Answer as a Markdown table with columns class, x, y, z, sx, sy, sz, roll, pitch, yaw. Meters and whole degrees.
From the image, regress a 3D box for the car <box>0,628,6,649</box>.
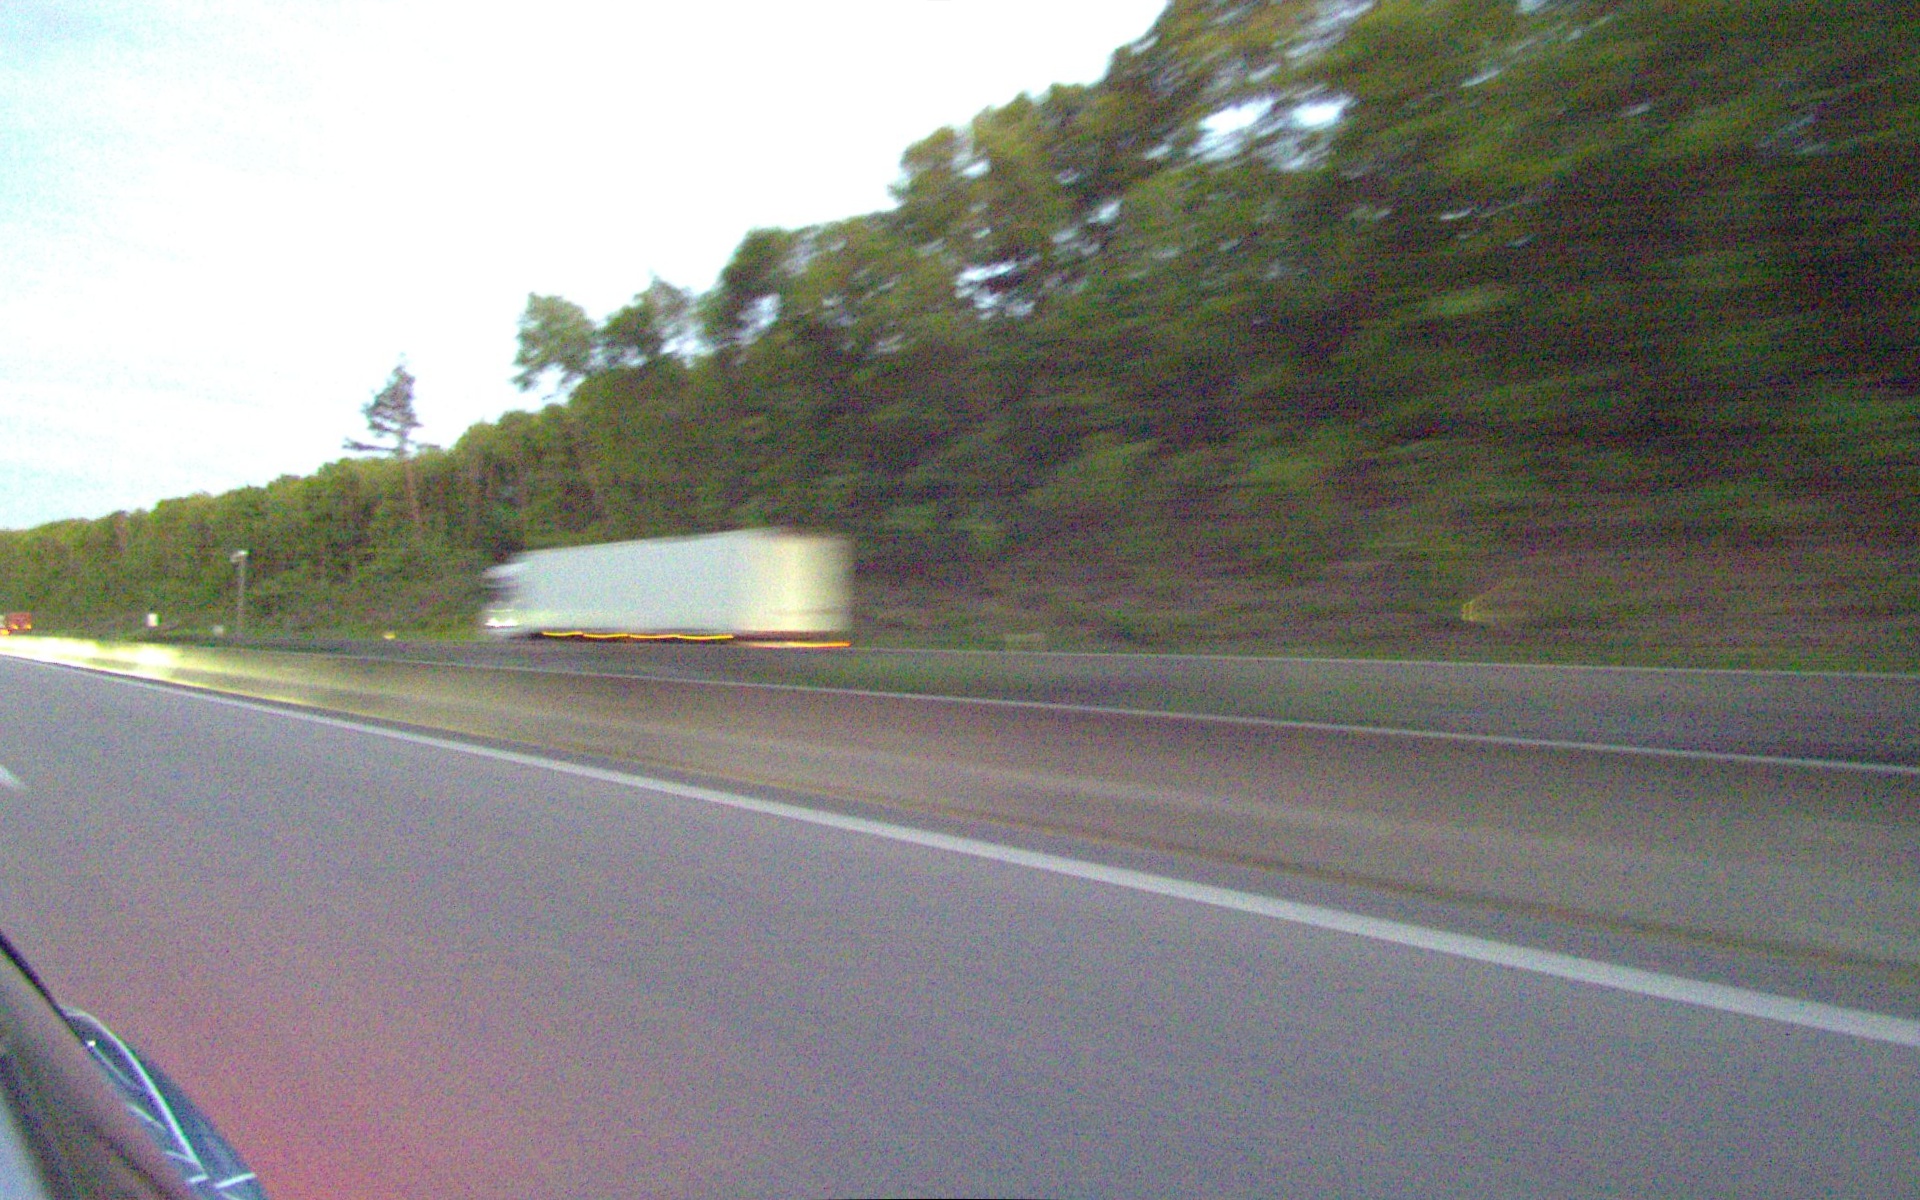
| class | x | y | z | sx | sy | sz | roll | pitch | yaw |
| --- | --- | --- | --- | --- | --- | --- | --- | --- | --- |
| car | -88.730 | 3.506 | 92.258 | 5.107 | 1.946 | 1.911 | -2 | -2 | 40 |

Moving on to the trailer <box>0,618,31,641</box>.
| class | x | y | z | sx | sy | sz | roll | pitch | yaw |
| --- | --- | --- | --- | --- | --- | --- | --- | --- | --- |
| trailer | -177.856 | 5.428 | 190.573 | 14.181 | 4.136 | 3.157 | -1 | 0 | 42 |

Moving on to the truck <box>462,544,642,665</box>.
| class | x | y | z | sx | sy | sz | roll | pitch | yaw |
| --- | --- | --- | --- | --- | --- | --- | --- | --- | --- |
| truck | -15.119 | 0.233 | 37.305 | 6.874 | 4.034 | 3.345 | -1 | -2 | 40 |

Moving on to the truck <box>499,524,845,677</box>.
| class | x | y | z | sx | sy | sz | roll | pitch | yaw |
| --- | --- | --- | --- | --- | --- | --- | --- | --- | --- |
| truck | -9.902 | 0.170 | 32.772 | 14.487 | 4.034 | 3.322 | -1 | -2 | 41 |
